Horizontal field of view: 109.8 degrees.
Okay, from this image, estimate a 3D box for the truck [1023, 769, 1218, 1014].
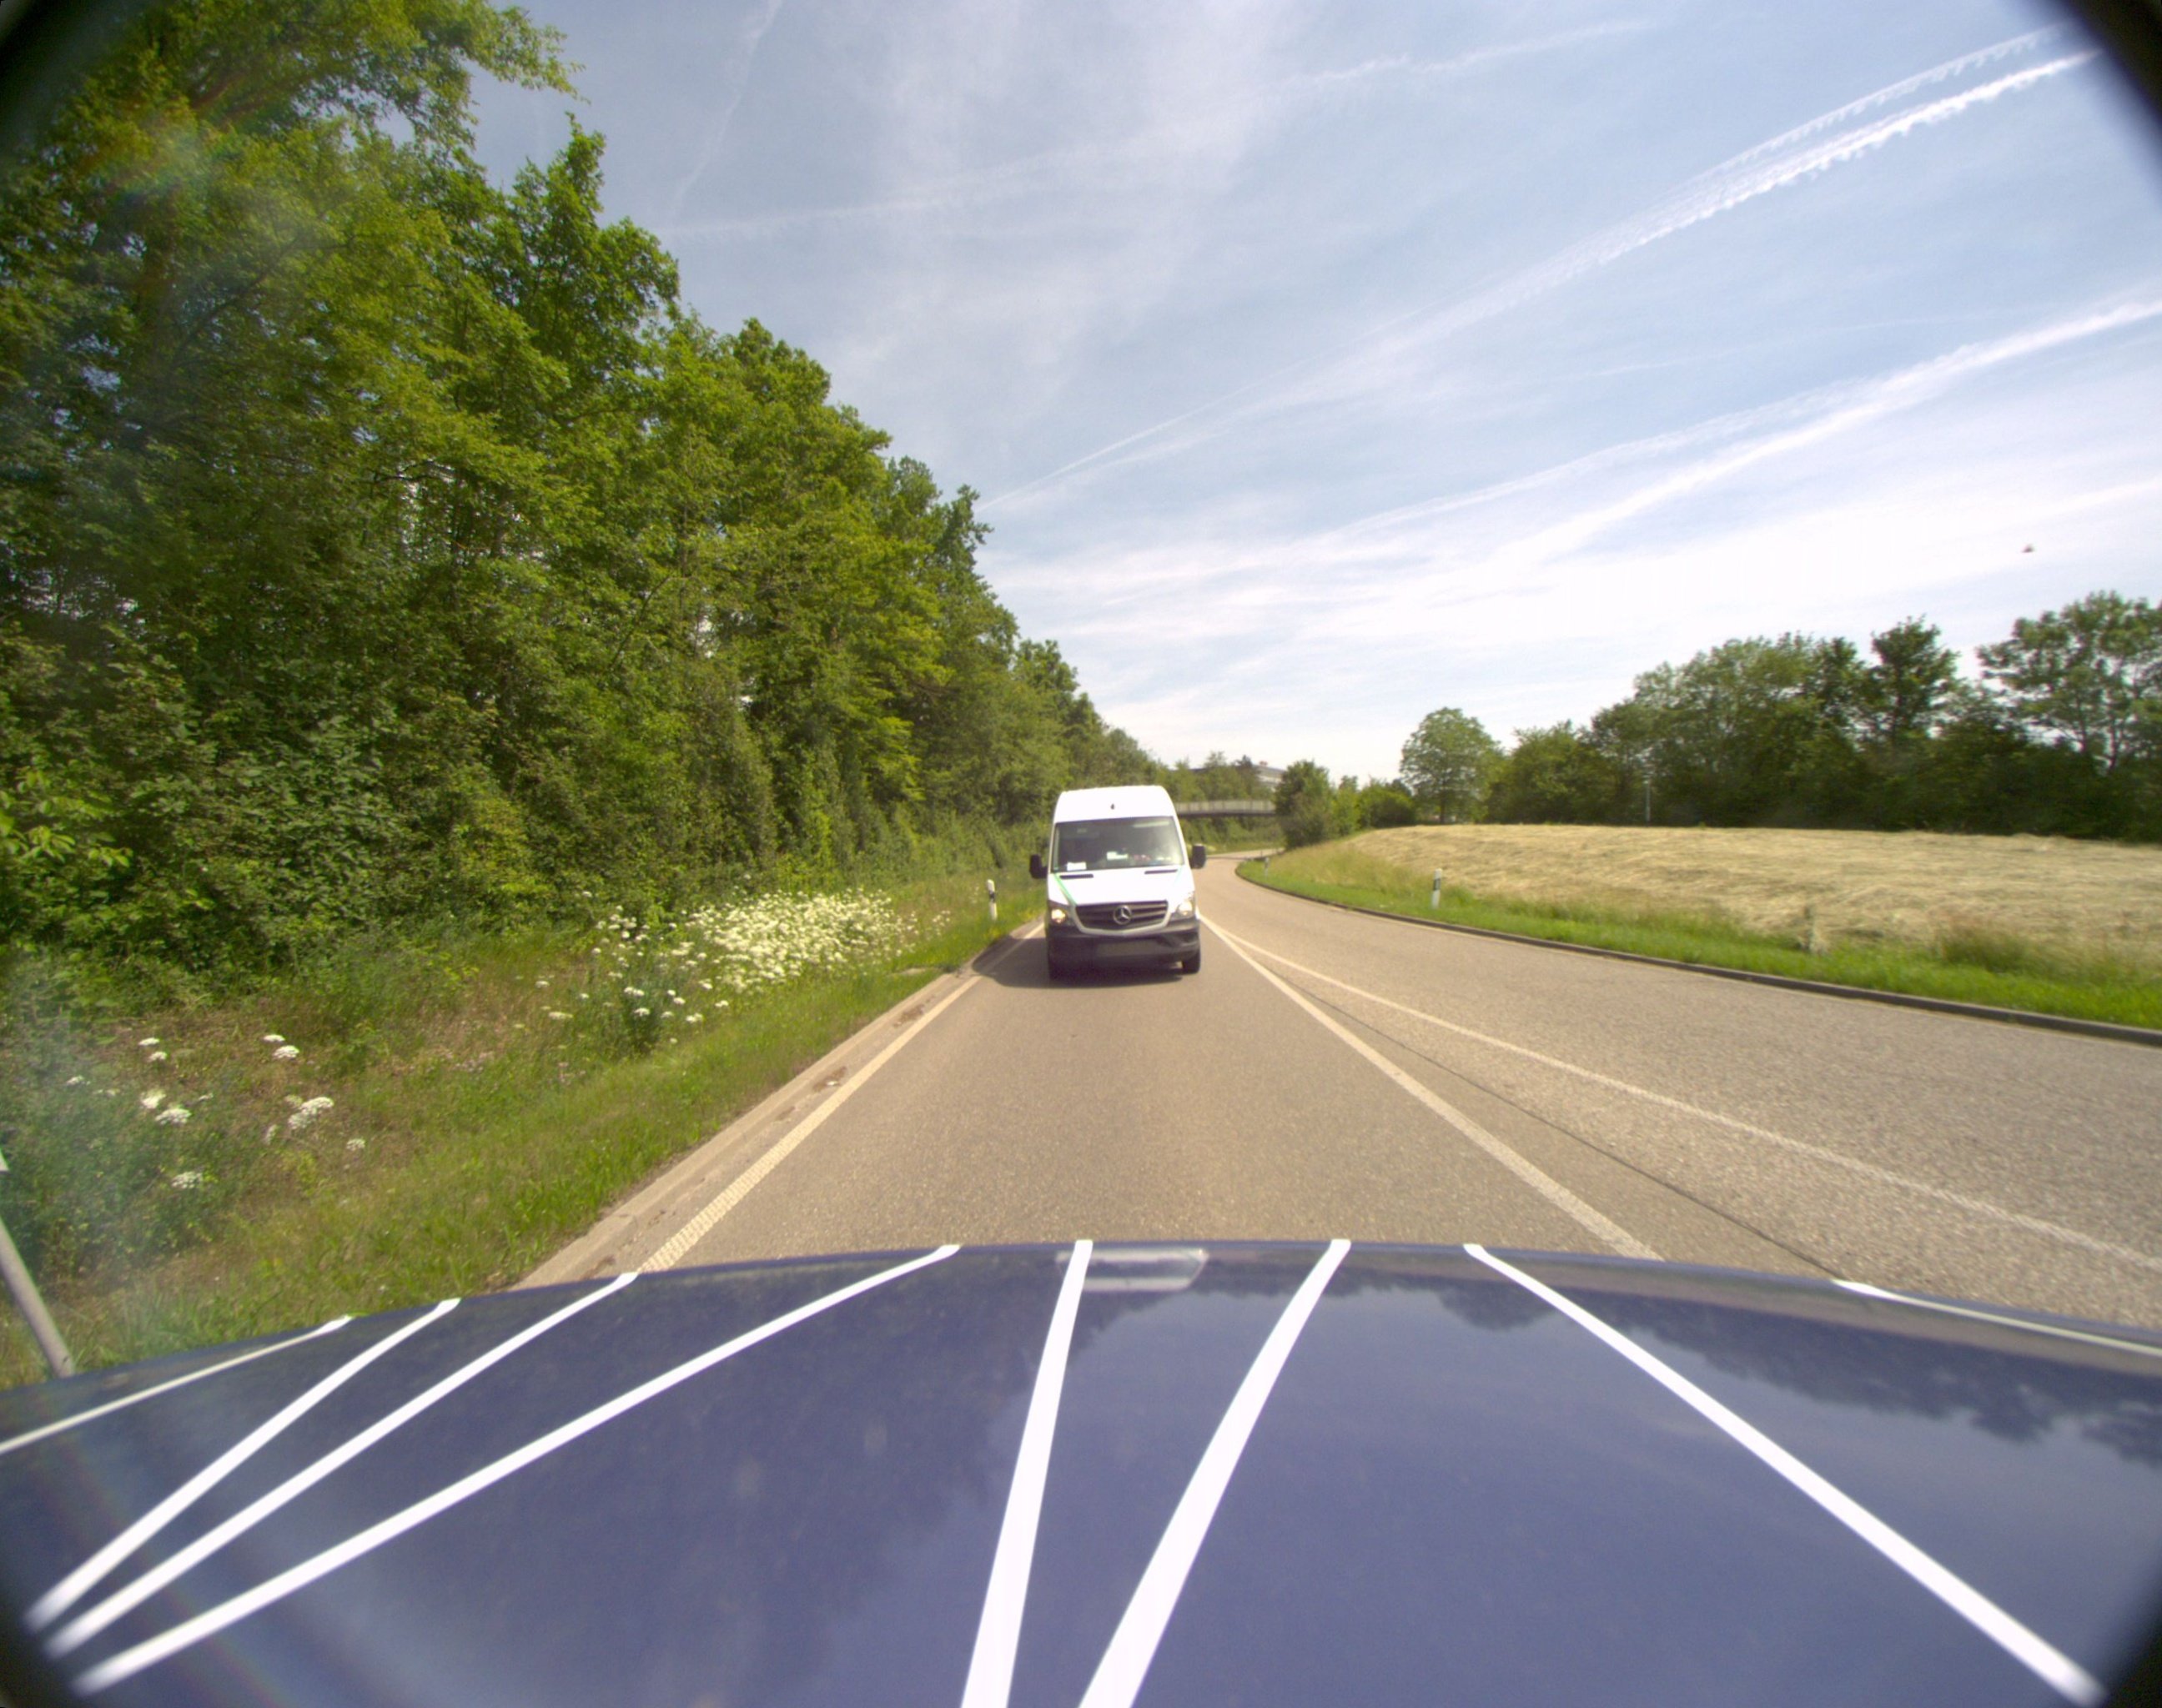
[{"bbox_3d":[0.424,0.420,11.211,1.999,2.571,5.887,-3,0,0],"label":"truck"}]
